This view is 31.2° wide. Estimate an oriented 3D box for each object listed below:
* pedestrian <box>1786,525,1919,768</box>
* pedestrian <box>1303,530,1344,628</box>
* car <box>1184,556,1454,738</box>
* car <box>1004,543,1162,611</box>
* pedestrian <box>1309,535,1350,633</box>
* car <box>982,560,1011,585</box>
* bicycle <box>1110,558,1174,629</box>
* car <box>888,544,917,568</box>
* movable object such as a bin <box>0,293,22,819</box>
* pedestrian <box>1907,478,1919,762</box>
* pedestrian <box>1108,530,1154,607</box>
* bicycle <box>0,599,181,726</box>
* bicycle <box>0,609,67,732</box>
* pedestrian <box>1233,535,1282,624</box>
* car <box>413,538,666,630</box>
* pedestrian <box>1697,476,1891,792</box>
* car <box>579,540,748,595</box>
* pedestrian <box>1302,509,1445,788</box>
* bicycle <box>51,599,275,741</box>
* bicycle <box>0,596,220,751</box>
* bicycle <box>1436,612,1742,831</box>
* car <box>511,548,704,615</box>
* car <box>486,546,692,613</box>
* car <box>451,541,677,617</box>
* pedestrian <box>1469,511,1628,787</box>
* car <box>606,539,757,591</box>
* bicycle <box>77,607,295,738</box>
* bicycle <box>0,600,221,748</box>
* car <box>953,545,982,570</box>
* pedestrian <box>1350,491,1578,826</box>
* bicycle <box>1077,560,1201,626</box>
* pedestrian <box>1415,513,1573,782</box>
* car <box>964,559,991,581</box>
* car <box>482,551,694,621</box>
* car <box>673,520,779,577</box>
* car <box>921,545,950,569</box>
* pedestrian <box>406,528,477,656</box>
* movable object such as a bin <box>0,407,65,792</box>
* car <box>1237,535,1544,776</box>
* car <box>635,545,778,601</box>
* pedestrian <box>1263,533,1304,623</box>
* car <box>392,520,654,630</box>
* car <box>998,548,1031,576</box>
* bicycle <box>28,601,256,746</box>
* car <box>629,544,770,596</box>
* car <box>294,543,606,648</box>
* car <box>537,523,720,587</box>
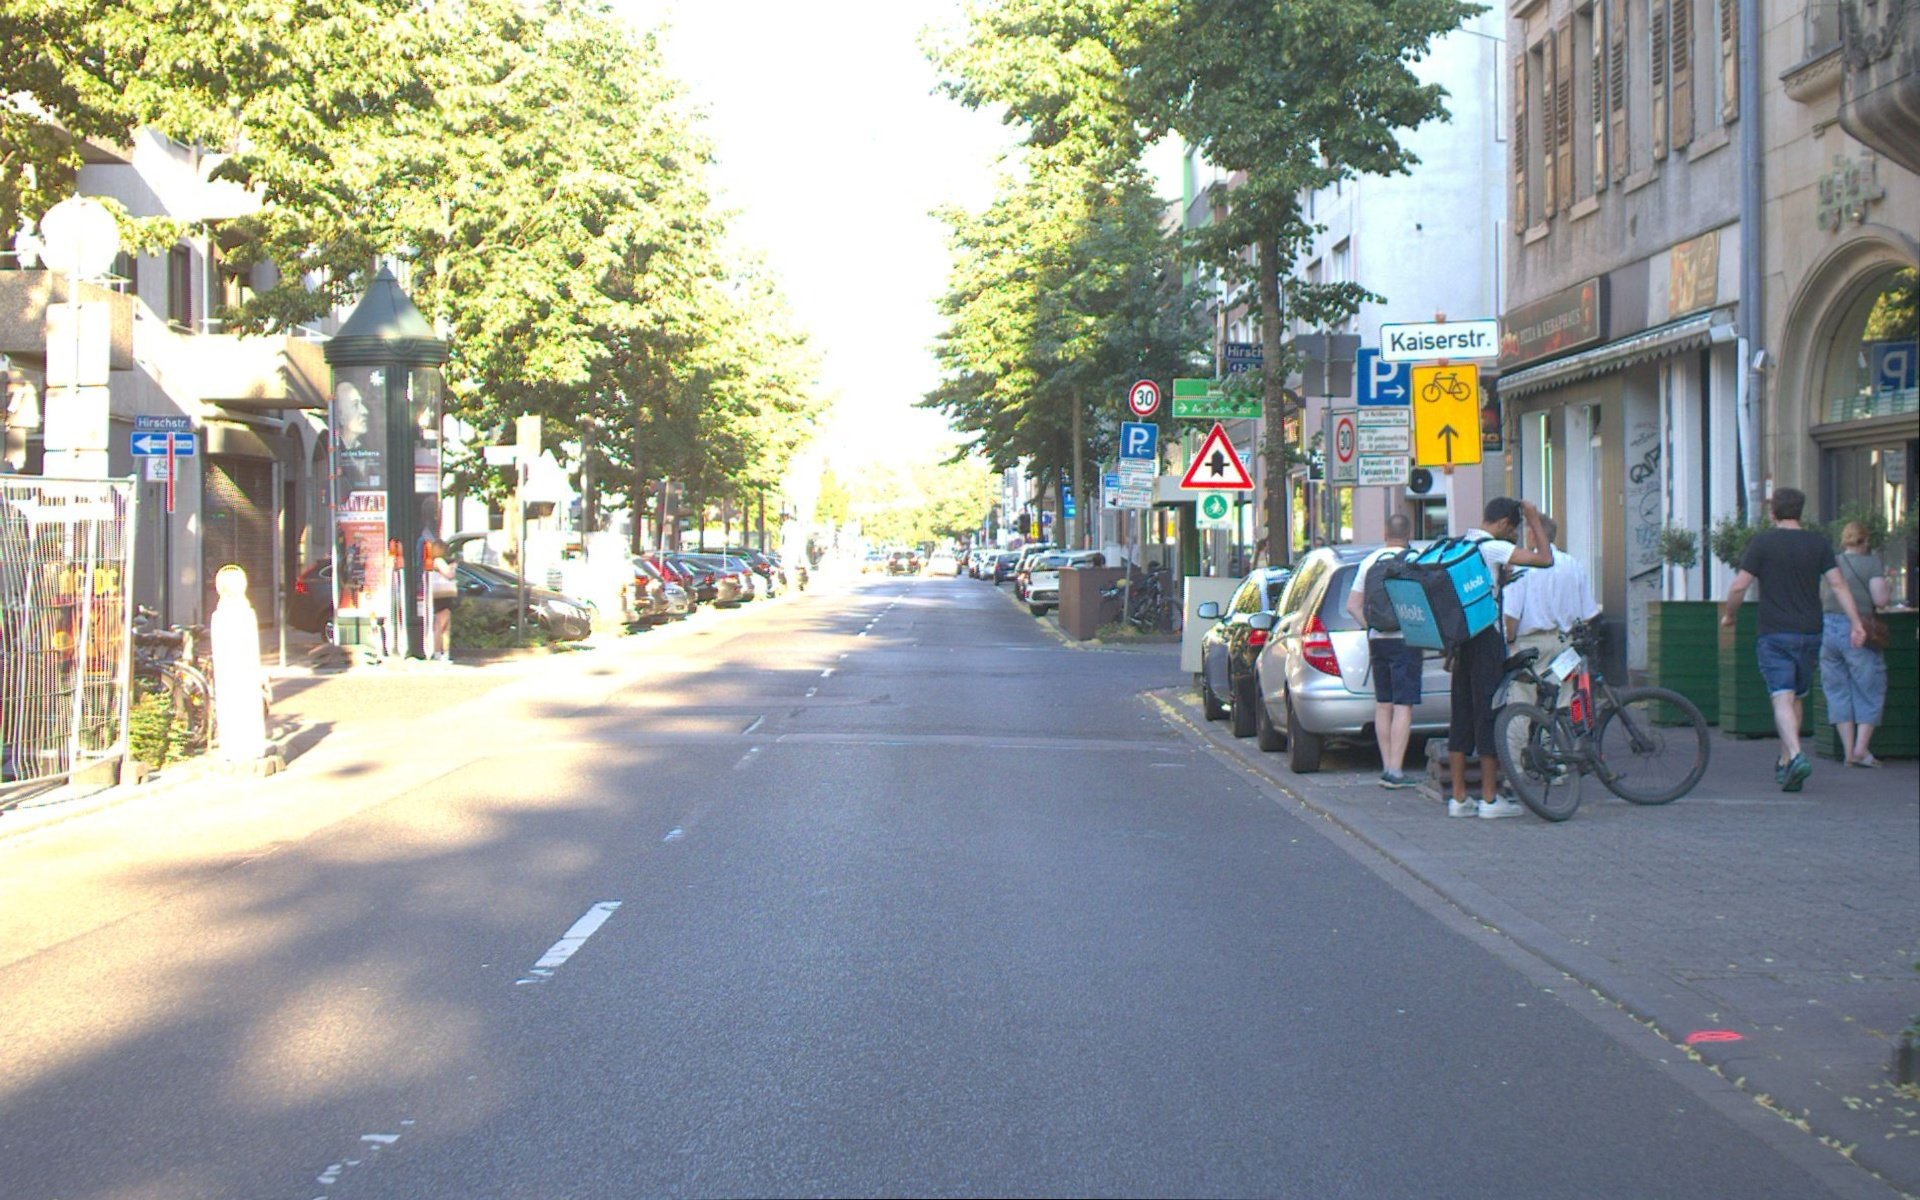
[{"bbox_3d":[5.916,0.296,22.762,0.658,1.557,0.701,-3,1,0],"label":"pedestrian"},{"bbox_3d":[6.029,-0.356,57.006,0.567,1.594,0.663,-2,2,0],"label":"pedestrian"},{"bbox_3d":[3.049,0.351,30.049,1.785,1.371,4.524,-3,1,-1],"label":"car"},{"bbox_3d":[2.942,-0.556,81.760,1.674,1.583,3.814,1,1,43],"label":"car"},{"bbox_3d":[6.045,-0.266,56.243,0.567,1.578,0.663,-2,2,0],"label":"pedestrian"},{"bbox_3d":[1.922,-1.429,179.583,1.513,1.259,3.303,0,0,1],"label":"car"},{"bbox_3d":[3.111,-0.123,58.553,0.598,1.174,1.844,0,1,19],"label":"bicycle"},{"bbox_3d":[-3.671,-2.825,220.882,1.752,1.535,3.303,0,0,1],"label":"car"},{"bbox_3d":[-6.704,-0.212,17.160,2.625,2.959,5.304,0,1,0],"label":"movable object such as a bin"},{"bbox_3d":[6.559,0.128,22.561,0.460,1.869,0.501,-1,1,-15],"label":"pedestrian"},{"bbox_3d":[4.310,-0.801,86.546,0.916,1.919,1.018,1,1,-10],"label":"pedestrian"},{"bbox_3d":[-7.440,0.531,29.335,1.486,1.055,0.471,1,0,-6],"label":"bicycle"},{"bbox_3d":[-7.977,0.560,27.913,1.324,0.976,0.444,1,0,3],"label":"bicycle"},{"bbox_3d":[5.456,-0.386,63.015,0.797,1.620,0.911,0,1,12],"label":"pedestrian"},{"bbox_3d":[-8.036,-0.311,66.004,4.571,1.692,2.060,1,1,1],"label":"car"},{"bbox_3d":[5.087,0.196,21.029,0.822,1.847,1.097,-3,1,-2],"label":"pedestrian"},{"bbox_3d":[-8.098,-0.888,94.182,4.442,1.444,1.919,1,1,1],"label":"car"},{"bbox_3d":[2.653,0.302,22.104,0.677,1.748,0.825,-1,1,-10],"label":"pedestrian"},{"bbox_3d":[-6.498,0.567,28.046,1.683,1.075,0.444,2,0,8],"label":"bicycle"},{"bbox_3d":[-6.432,0.562,25.977,1.544,1.113,0.444,3,0,-33],"label":"bicycle"},{"bbox_3d":[3.597,0.666,19.539,0.866,1.095,1.922,-1,2,39],"label":"bicycle"},{"bbox_3d":[-8.473,-0.457,82.950,4.442,1.562,1.919,1,1,1],"label":"car"},{"bbox_3d":[-8.385,-0.466,77.963,4.442,1.453,1.859,1,1,1],"label":"car"},{"bbox_3d":[-8.160,-0.446,71.055,4.442,1.501,1.844,1,1,1],"label":"car"},{"bbox_3d":[3.732,0.304,21.807,0.651,1.694,0.668,-3,1,-44],"label":"pedestrian"},{"bbox_3d":[-8.494,-1.075,105.056,4.442,1.518,1.919,1,1,1],"label":"car"},{"bbox_3d":[-6.475,0.602,28.771,1.683,1.018,0.444,2,0,8],"label":"bicycle"},{"bbox_3d":[-6.685,0.577,26.869,1.682,1.075,0.444,2,0,-1],"label":"bicycle"},{"bbox_3d":[0.501,-2.658,213.635,1.752,1.535,3.303,0,0,1],"label":"car"},{"bbox_3d":[2.859,0.319,19.562,1.013,1.819,0.780,-3,1,-10],"label":"pedestrian"},{"bbox_3d":[2.973,-0.120,57.093,1.958,1.070,0.704,1,1,32],"label":"bicycle"},{"bbox_3d":[3.495,0.300,22.543,0.677,1.700,0.825,-3,1,-15],"label":"pedestrian"},{"bbox_3d":[1.049,-1.768,202.327,1.513,1.294,3.303,0,0,1],"label":"car"},{"bbox_3d":[-8.156,-0.322,75.657,4.442,1.479,1.809,1,1,1],"label":"car"},{"bbox_3d":[-10.144,-2.217,149.007,4.442,2.426,1.919,0,1,1],"label":"car"},{"bbox_3d":[-1.492,-2.652,213.842,1.721,1.470,3.303,0,0,1],"label":"car"},{"bbox_3d":[-6.887,-0.114,45.705,0.710,1.680,0.833,0,1,9],"label":"pedestrian"},{"bbox_3d":[-8.687,0.013,21.287,2.312,2.486,5.740,1,1,43],"label":"movable object such as a bin"},{"bbox_3d":[3.091,0.341,25.389,1.687,1.569,4.013,-3,1,0],"label":"car"},{"bbox_3d":[-8.204,-0.884,111.558,4.442,1.753,1.919,1,1,1],"label":"car"},{"bbox_3d":[6.026,-0.417,63.995,0.631,1.674,0.891,0,1,14],"label":"pedestrian"},{"bbox_3d":[-8.014,-0.465,63.355,4.571,1.955,1.991,1,1,0],"label":"car"},{"bbox_3d":[2.573,-1.780,161.454,1.513,1.271,3.303,0,0,1],"label":"car"},{"bbox_3d":[-6.530,0.581,27.460,1.683,1.075,0.444,2,0,8],"label":"bicycle"},{"bbox_3d":[-8.271,-0.944,109.456,4.304,1.592,1.919,1,1,1],"label":"car"},{"bbox_3d":[-7.820,-0.076,52.989,4.546,1.536,1.811,1,1,-1],"label":"car"},{"bbox_3d":[-8.424,-1.144,87.659,4.442,1.562,1.919,1,1,1],"label":"car"}]
